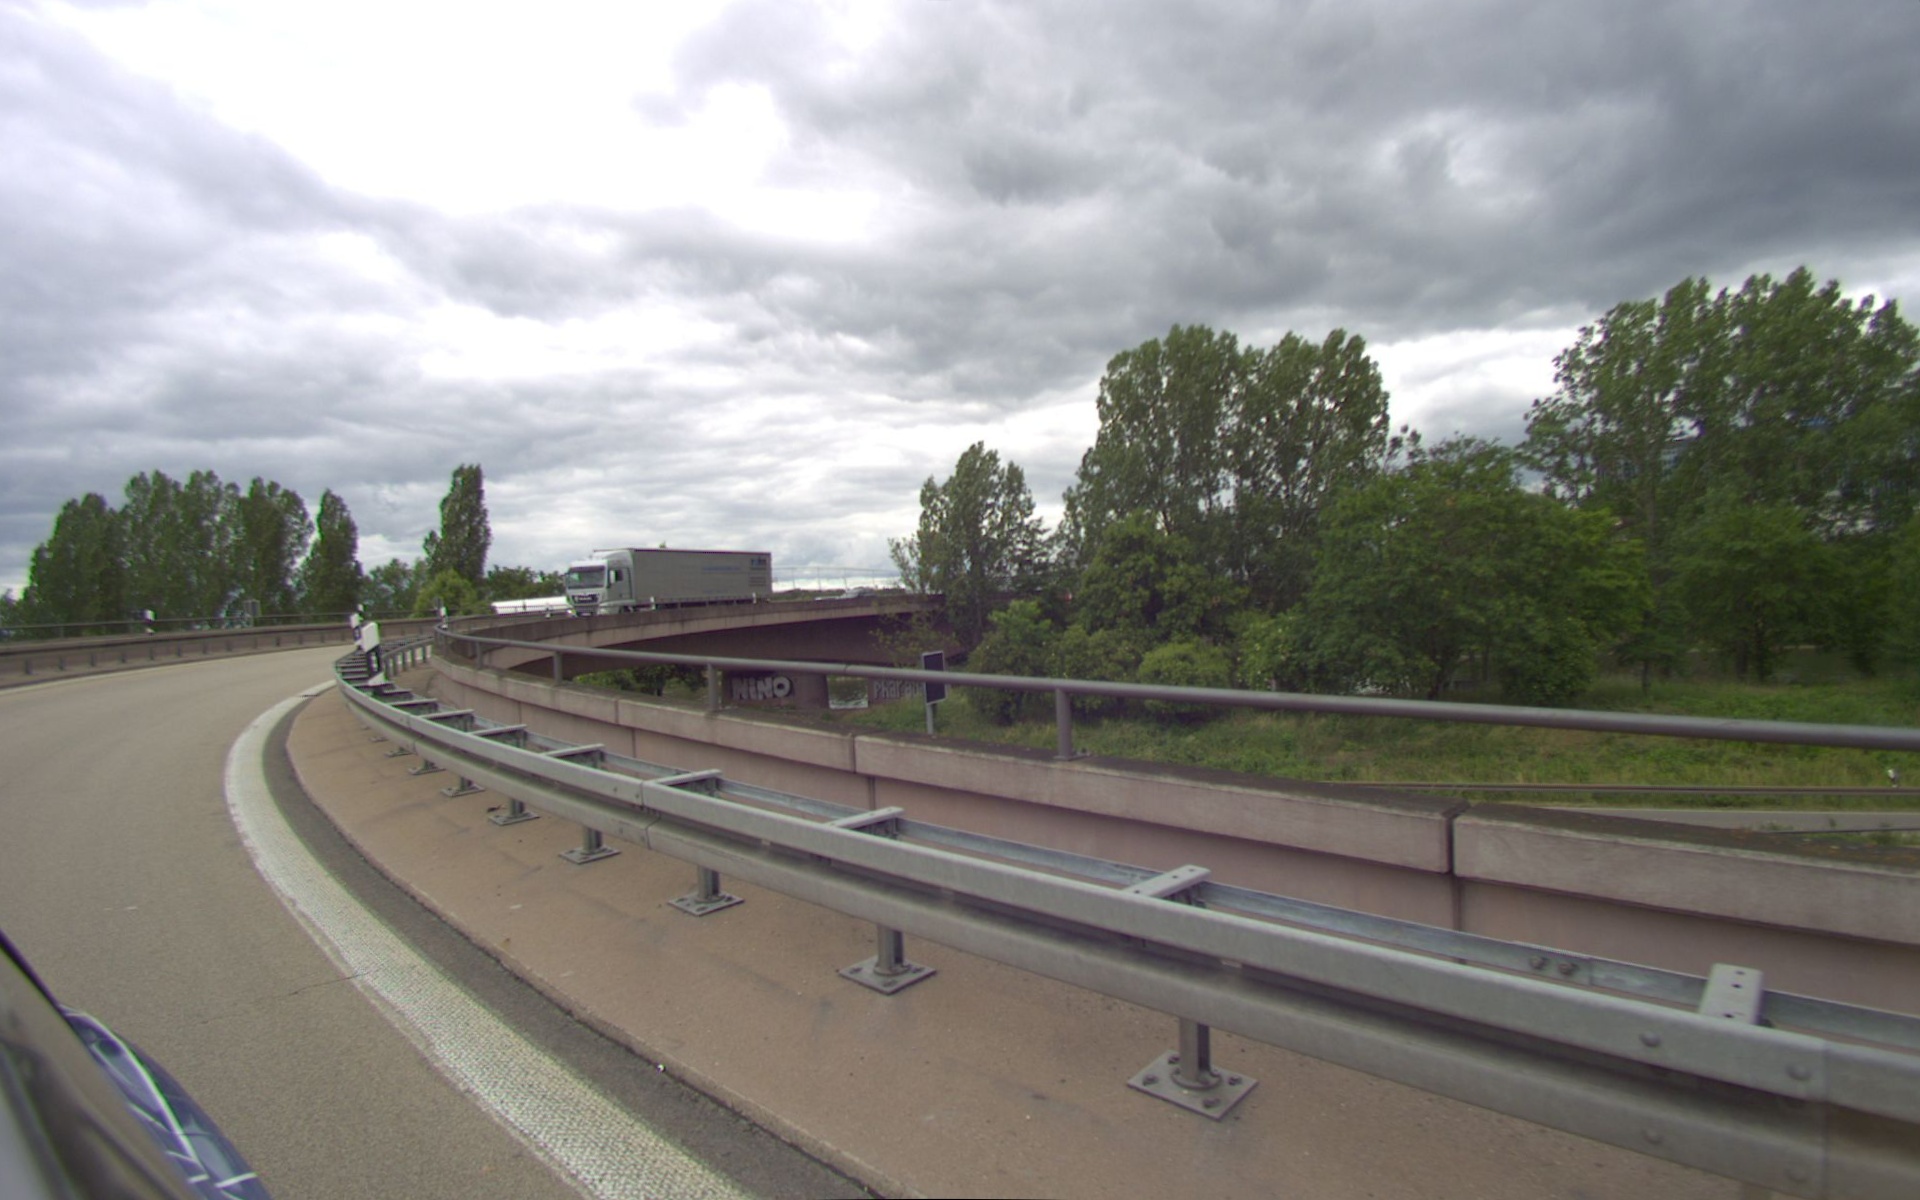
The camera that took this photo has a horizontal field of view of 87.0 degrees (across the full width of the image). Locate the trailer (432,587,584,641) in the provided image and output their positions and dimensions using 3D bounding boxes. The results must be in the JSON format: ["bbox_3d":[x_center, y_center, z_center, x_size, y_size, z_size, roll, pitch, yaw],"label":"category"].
[{"bbox_3d":[-36.451,1.059,82.051,10.820,3.677,2.757,-3,0,-15],"label":"trailer"}]

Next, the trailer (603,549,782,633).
[{"bbox_3d":[-15.289,-0.628,59.732,2.730,4.269,13.352,-3,0,21],"label":"trailer"}]

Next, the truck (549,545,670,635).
[{"bbox_3d":[-17.900,-0.527,52.194,2.712,4.260,6.170,-3,0,16],"label":"truck"}]
